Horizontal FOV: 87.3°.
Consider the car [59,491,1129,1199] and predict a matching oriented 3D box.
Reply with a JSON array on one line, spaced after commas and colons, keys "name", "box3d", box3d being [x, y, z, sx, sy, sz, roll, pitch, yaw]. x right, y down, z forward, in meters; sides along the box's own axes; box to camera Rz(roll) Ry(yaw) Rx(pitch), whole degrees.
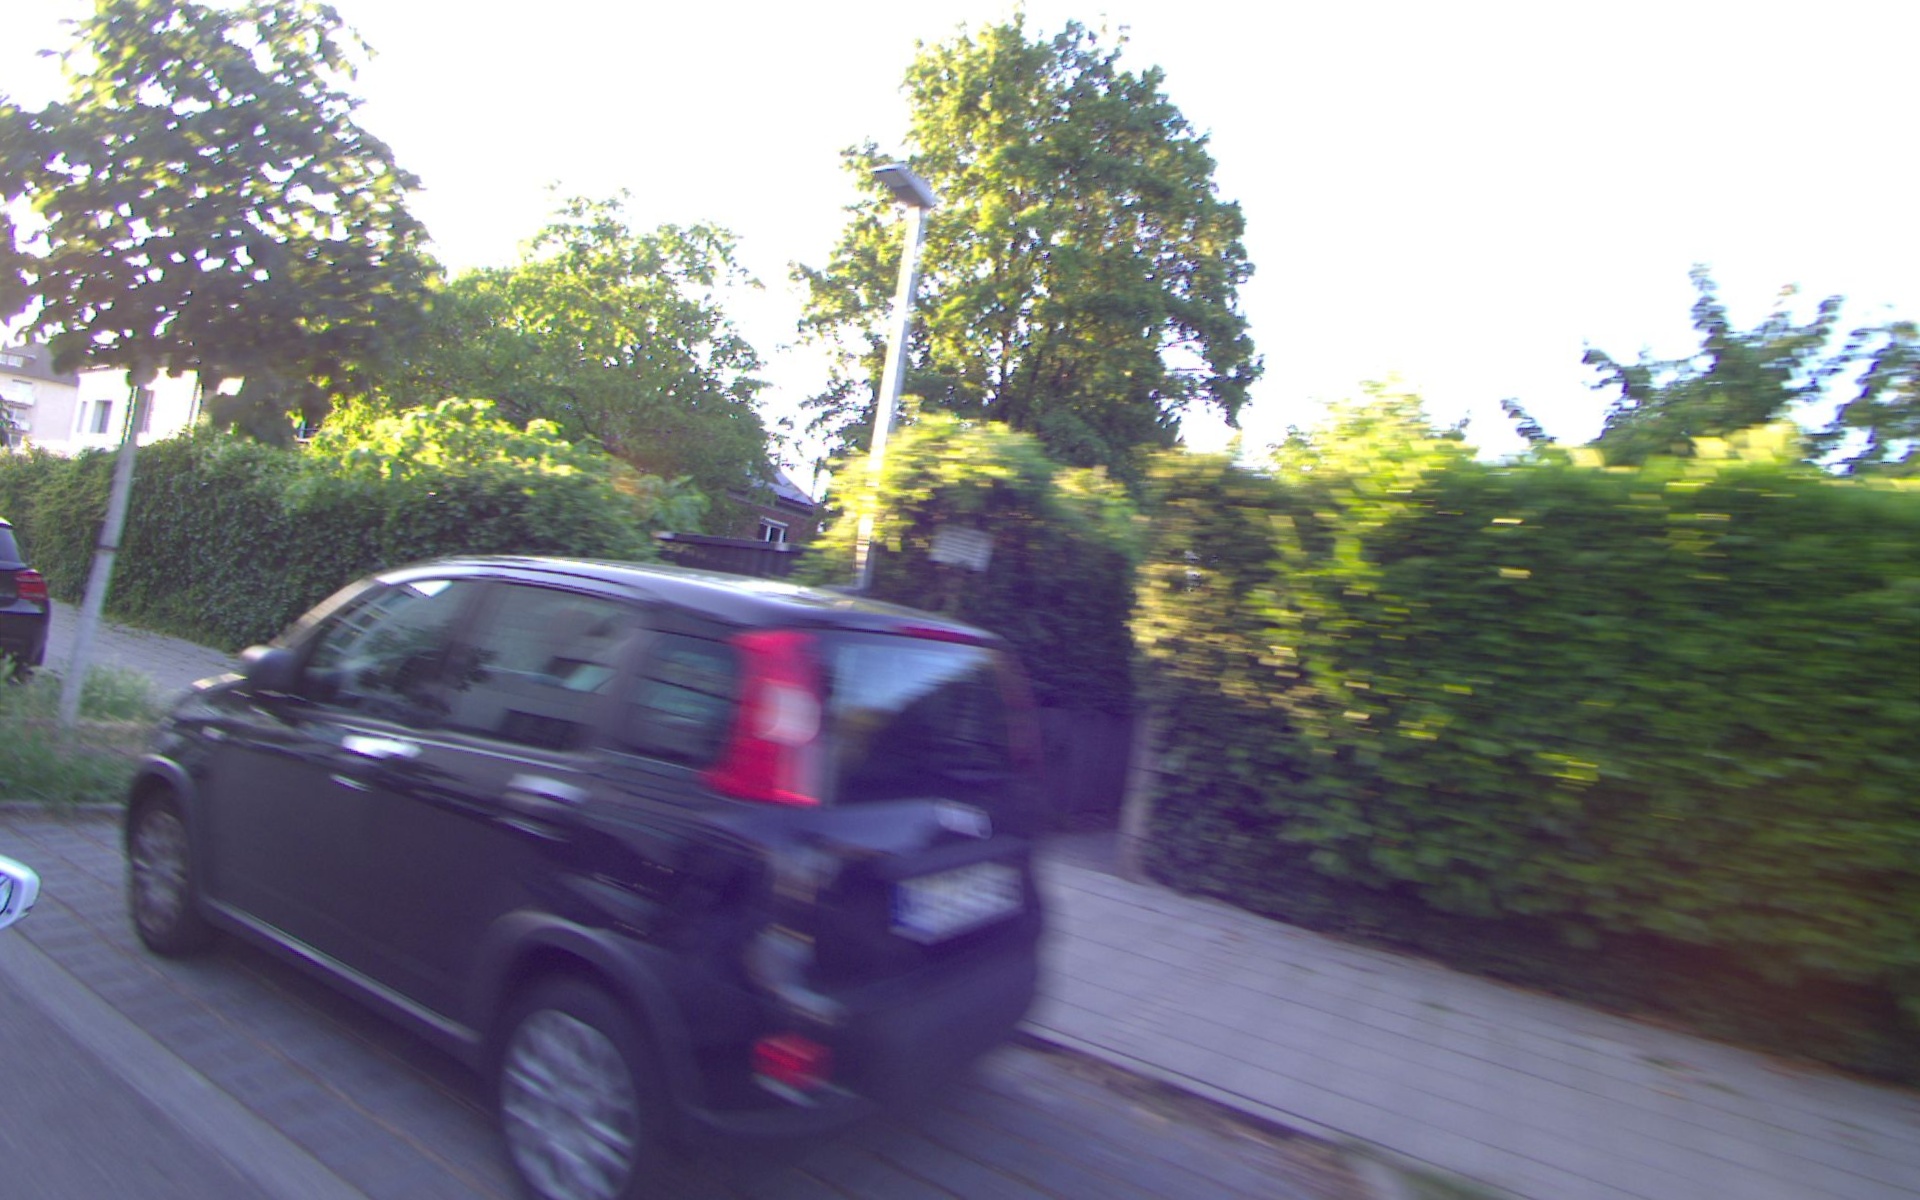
[{"name": "car", "box3d": [-1.406, 0.611, 3.488, 3.439, 1.526, 1.580, 7, -2, 33]}]

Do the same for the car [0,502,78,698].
[{"name": "car", "box3d": [-9.516, -0.254, 8.779, 4.127, 1.526, 1.695, 7, -2, 35]}]
